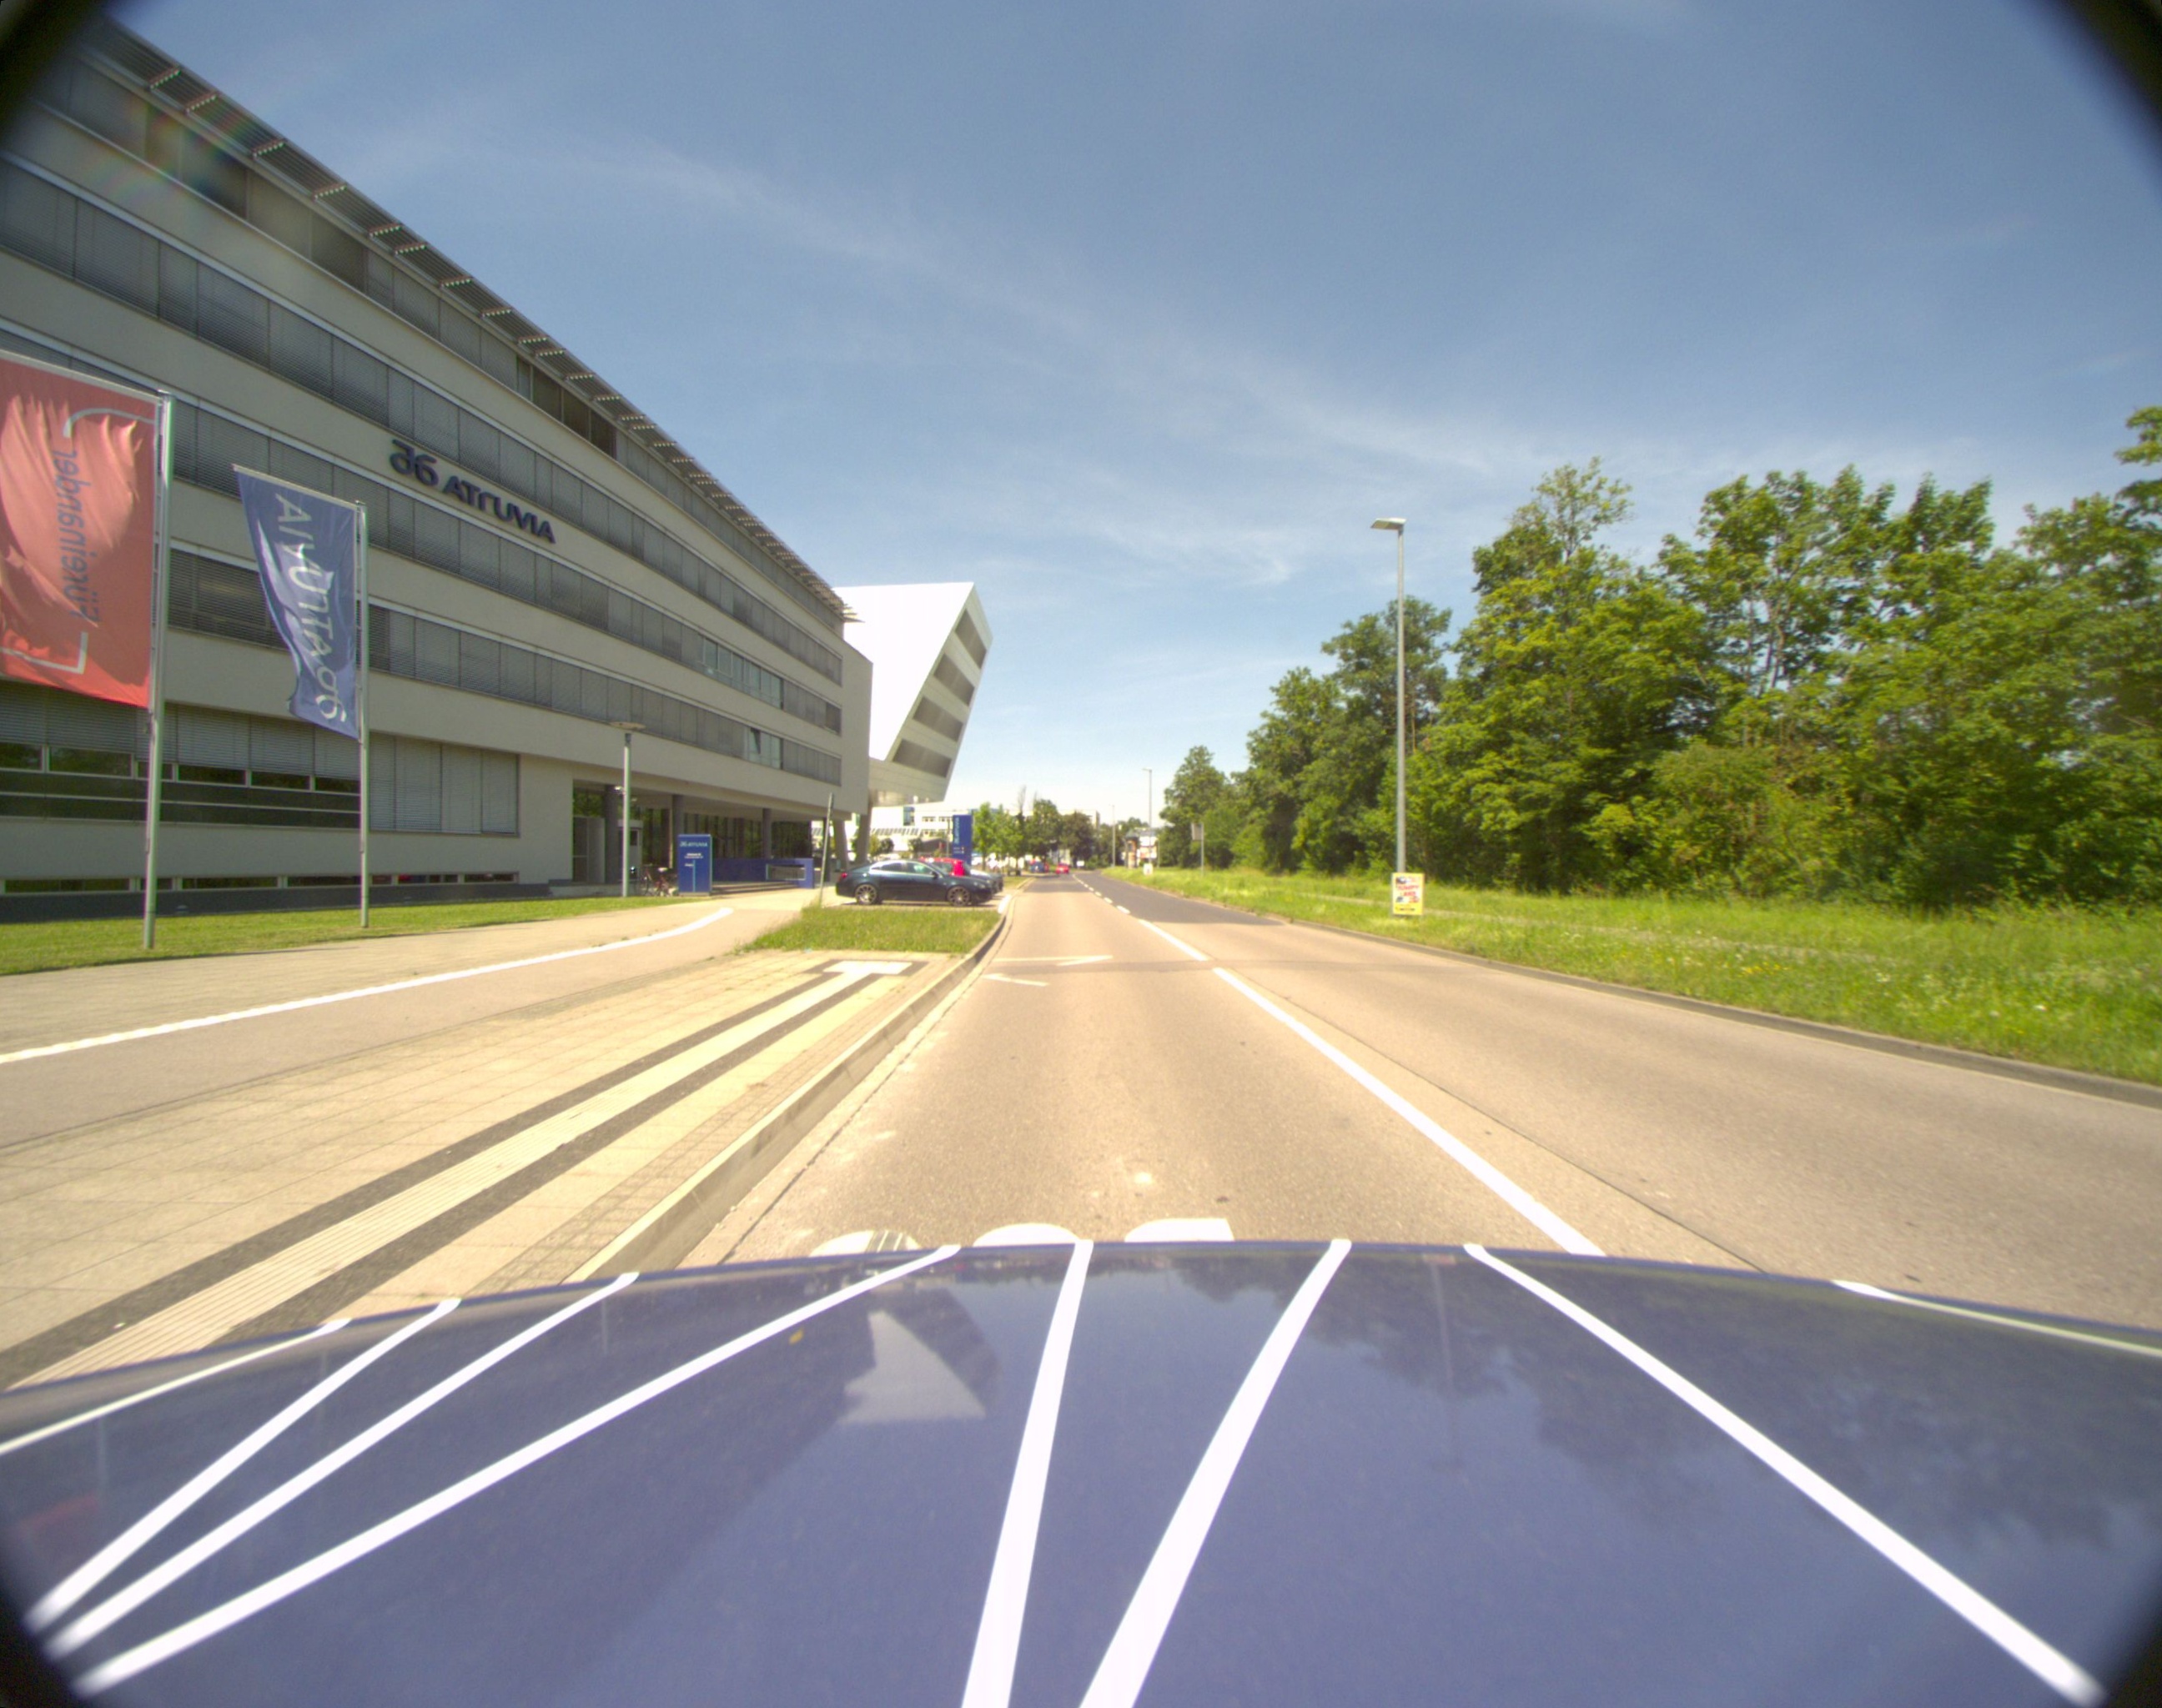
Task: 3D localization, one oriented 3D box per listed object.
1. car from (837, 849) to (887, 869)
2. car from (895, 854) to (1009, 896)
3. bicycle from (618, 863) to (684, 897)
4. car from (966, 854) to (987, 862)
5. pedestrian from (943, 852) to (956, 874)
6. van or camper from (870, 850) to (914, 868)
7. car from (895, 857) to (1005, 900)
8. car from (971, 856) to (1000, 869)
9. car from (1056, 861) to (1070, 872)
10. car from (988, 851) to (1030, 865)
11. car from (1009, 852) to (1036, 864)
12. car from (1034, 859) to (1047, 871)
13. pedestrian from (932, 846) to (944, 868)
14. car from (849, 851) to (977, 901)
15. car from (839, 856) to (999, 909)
[{"bbox_3d":[-27.068,0.627,94.129,5.581,2.445,2.001,-1,0,5],"label":"car"},{"bbox_3d":[-5.183,0.844,30.935,4.332,1.554,1.786,2,0,-1],"label":"car"},{"bbox_3d":[-14.131,0.847,24.996,1.882,1.054,0.534,-1,1,2],"label":"bicycle"},{"bbox_3d":[-22.687,0.911,164.862,4.321,1.647,1.704,-1,0,5],"label":"car"},{"bbox_3d":[-10.258,0.690,59.244,0.844,1.691,0.775,-1,1,-3],"label":"pedestrian"},{"bbox_3d":[-26.626,0.714,106.952,5.700,2.376,1.704,-1,0,5],"label":"van or camper"},{"bbox_3d":[-4.861,0.883,28.524,3.817,1.477,1.655,1,0,0],"label":"car"},{"bbox_3d":[-13.564,1.178,107.499,3.822,1.664,1.741,-1,0,1],"label":"car"},{"bbox_3d":[-2.373,1.659,101.528,1.662,1.494,3.357,-1,0,0],"label":"car"},{"bbox_3d":[-11.729,0.708,124.511,6.493,2.137,2.165,-1,0,5],"label":"car"},{"bbox_3d":[-10.023,0.661,130.307,4.204,1.964,1.704,-1,0,5],"label":"car"},{"bbox_3d":[-5.638,1.522,105.814,1.802,1.490,3.999,-1,0,-3],"label":"car"},{"bbox_3d":[-11.138,0.235,59.189,0.844,1.650,0.775,-1,1,-3],"label":"pedestrian"},{"bbox_3d":[-5.731,0.726,26.264,3.997,1.645,1.839,1,0,0],"label":"car"},{"bbox_3d":[-4.938,0.870,23.664,4.580,1.423,1.827,2,0,-3],"label":"car"}]
